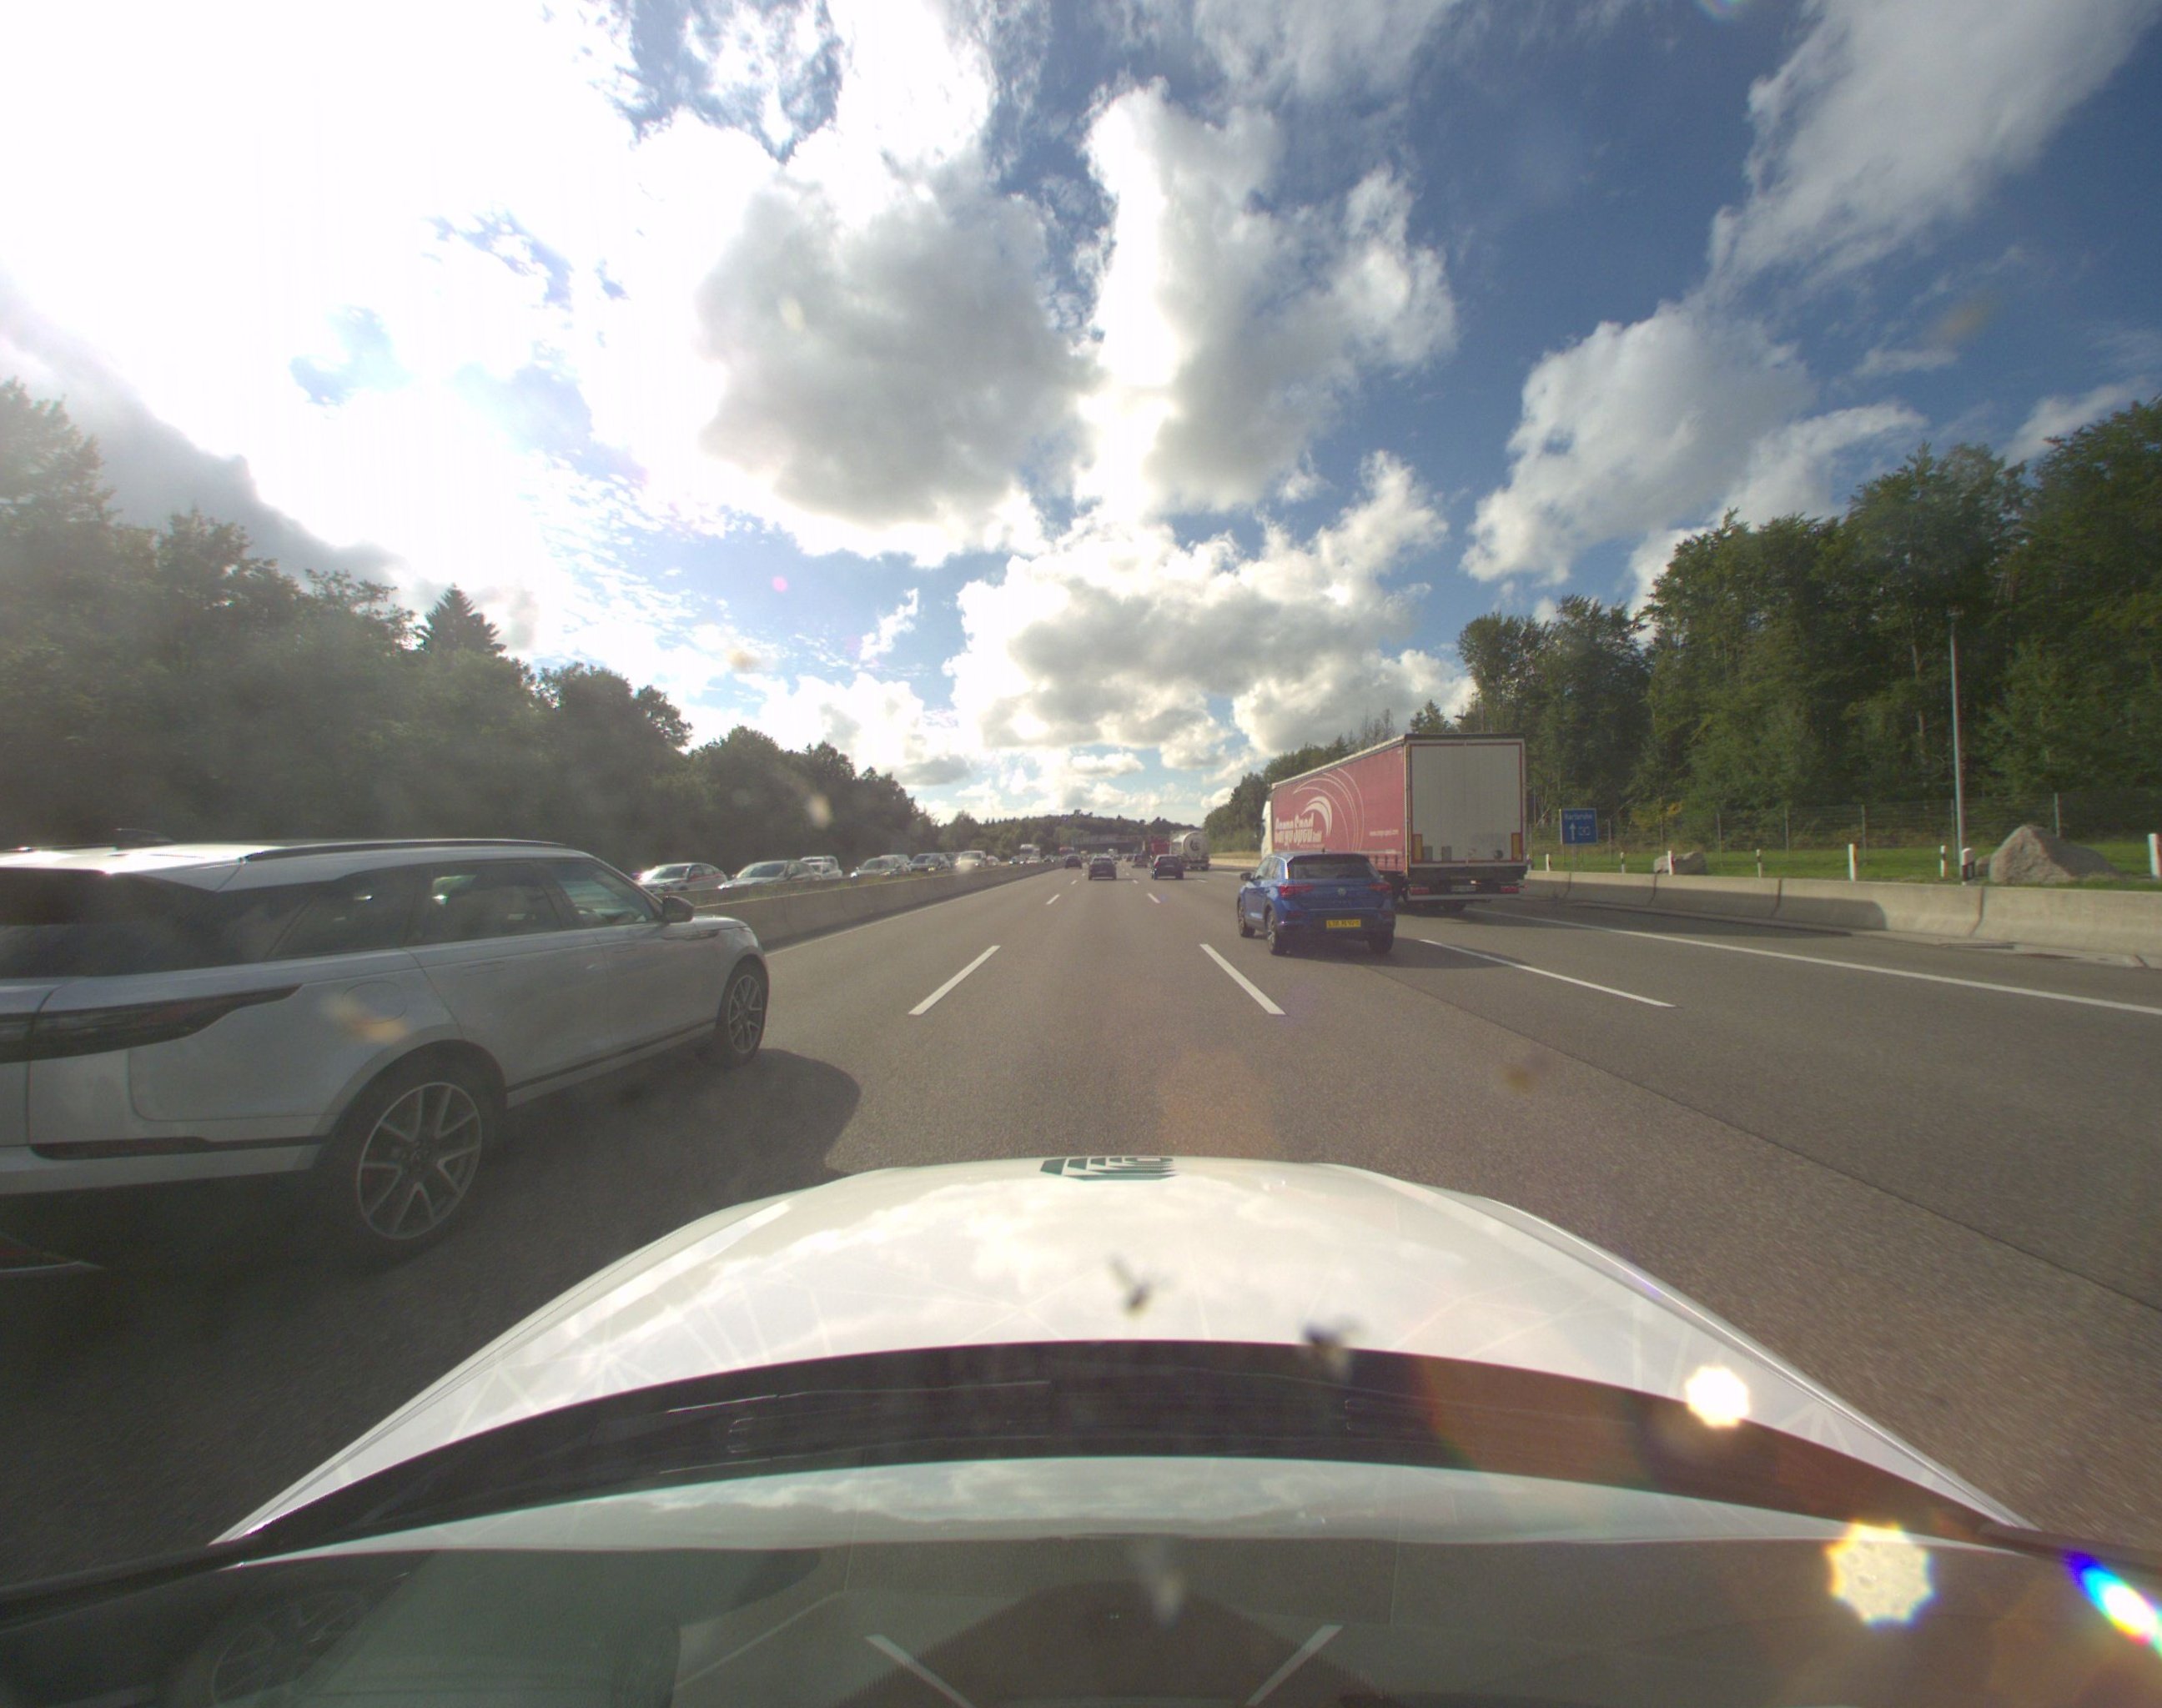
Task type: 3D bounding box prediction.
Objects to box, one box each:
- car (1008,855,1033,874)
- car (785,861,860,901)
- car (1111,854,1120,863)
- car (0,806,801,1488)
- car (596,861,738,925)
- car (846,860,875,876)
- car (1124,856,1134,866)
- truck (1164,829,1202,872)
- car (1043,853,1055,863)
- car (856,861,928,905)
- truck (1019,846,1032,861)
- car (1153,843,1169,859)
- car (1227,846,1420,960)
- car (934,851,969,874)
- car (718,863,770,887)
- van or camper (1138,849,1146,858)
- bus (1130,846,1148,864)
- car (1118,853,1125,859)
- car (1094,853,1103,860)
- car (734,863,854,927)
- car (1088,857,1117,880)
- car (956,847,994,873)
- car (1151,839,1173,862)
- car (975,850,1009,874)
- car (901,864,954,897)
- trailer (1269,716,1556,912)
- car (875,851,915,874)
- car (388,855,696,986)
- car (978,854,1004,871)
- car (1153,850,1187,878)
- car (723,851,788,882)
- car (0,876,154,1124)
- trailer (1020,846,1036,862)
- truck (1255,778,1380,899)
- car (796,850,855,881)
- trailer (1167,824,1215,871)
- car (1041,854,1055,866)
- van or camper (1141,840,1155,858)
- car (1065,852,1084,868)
[{"bbox_3d":[-6.427,1.129,86.548,1.985,1.864,4.554,-1,-2,4],"label":"car"},{"bbox_3d":[-12.688,1.339,40.314,1.985,1.864,4.554,-1,-2,4],"label":"car"},{"bbox_3d":[8.373,1.167,198.004,1.986,2.014,4.001,-2,-2,1],"label":"car"},{"bbox_3d":[-3.436,0.739,4.484,1.893,1.607,5.106,-1,-1,1],"label":"car"},{"bbox_3d":[-13.081,1.206,26.124,1.985,1.864,4.554,-1,-2,4],"label":"car"},{"bbox_3d":[-26.627,1.662,98.553,1.985,1.864,4.554,-1,-2,4],"label":"car"},{"bbox_3d":[9.855,1.542,167.333,1.987,2.014,4.000,0,-1,1],"label":"car"},{"bbox_3d":[10.198,-0.281,82.154,3.035,4.160,7.126,-1,-1,1],"label":"truck"},{"bbox_3d":[-6.649,0.736,168.609,1.985,2.013,4.003,-2,0,3],"label":"car"},{"bbox_3d":[-8.622,1.335,37.654,1.985,1.864,4.554,-1,-2,4],"label":"car"},{"bbox_3d":[-11.031,-0.097,162.846,2.275,3.024,2.700,0,-2,3],"label":"truck"},{"bbox_3d":[11.121,-0.420,113.688,1.986,2.014,4.001,0,-2,1],"label":"car"},{"bbox_3d":[3.737,0.685,13.476,1.917,1.541,4.646,0,0,1],"label":"car"},{"bbox_3d":[-11.132,0.789,70.423,1.985,1.864,4.554,-1,-2,4],"label":"car"},{"bbox_3d":[-27.097,1.732,65.659,1.985,1.864,4.554,-1,-2,4],"label":"car"},{"bbox_3d":[17.401,-0.201,233.779,2.076,2.493,4.226,-2,0,1],"label":"van or camper"},{"bbox_3d":[6.756,0.128,94.729,1.986,2.014,4.001,0,-2,2],"label":"bus"},{"bbox_3d":[11.007,0.610,221.272,1.669,1.592,3.630,-2,0,3],"label":"car"},{"bbox_3d":[4.299,0.587,200.846,2.146,1.776,4.002,0,-1,2],"label":"car"},{"bbox_3d":[-9.062,1.278,26.179,1.985,1.864,4.554,-1,-2,4],"label":"car"},{"bbox_3d":[1.324,0.892,50.770,1.728,1.365,3.999,0,-1,0],"label":"car"},{"bbox_3d":[-8.065,0.511,62.133,1.985,1.864,4.554,-1,-2,4],"label":"car"},{"bbox_3d":[11.270,-0.469,113.412,2.855,2.992,5.152,-1,-2,3],"label":"car"},{"bbox_3d":[-7.285,0.664,67.145,1.985,1.864,4.554,-1,-2,4],"label":"car"},{"bbox_3d":[-8.897,1.542,47.588,1.985,1.864,4.554,-1,-2,4],"label":"car"},{"bbox_3d":[8.437,-0.624,23.772,3.027,4.035,13.893,0,-2,2],"label":"trailer"},{"bbox_3d":[-15.349,0.737,67.589,1.985,1.864,4.554,-1,-2,4],"label":"car"},{"bbox_3d":[-8.801,1.025,13.936,1.985,1.864,4.554,-1,-2,4],"label":"car"},{"bbox_3d":[-10.143,0.957,92.069,1.985,1.864,4.555,-2,0,4],"label":"car"},{"bbox_3d":[5.386,0.600,49.928,1.792,1.644,4.002,0,-1,2],"label":"car"},{"bbox_3d":[-20.259,0.812,50.881,1.985,1.864,4.554,-1,-2,4],"label":"car"},{"bbox_3d":[-9.189,1.064,4.827,1.949,1.864,4.554,-1,-2,4],"label":"car"},{"bbox_3d":[-10.806,0.038,167.142,2.274,3.024,7.610,-1,-2,3],"label":"trailer"},{"bbox_3d":[8.650,-0.434,30.620,3.069,4.064,6.071,0,-2,1],"label":"truck"},{"bbox_3d":[-16.059,0.773,51.386,1.985,1.864,4.554,-1,-2,4],"label":"car"},{"bbox_3d":[10.089,-0.414,76.181,3.025,4.016,12.246,-1,-1,1],"label":"trailer"},{"bbox_3d":[-5.779,1.025,143.267,1.985,2.014,4.002,-1,-2,3],"label":"car"},{"bbox_3d":[12.314,-0.866,150.632,2.342,3.144,5.714,-1,-2,3],"label":"van or camper"},{"bbox_3d":[-0.762,0.682,93.969,1.986,1.776,4.002,-2,0,2],"label":"car"}]
